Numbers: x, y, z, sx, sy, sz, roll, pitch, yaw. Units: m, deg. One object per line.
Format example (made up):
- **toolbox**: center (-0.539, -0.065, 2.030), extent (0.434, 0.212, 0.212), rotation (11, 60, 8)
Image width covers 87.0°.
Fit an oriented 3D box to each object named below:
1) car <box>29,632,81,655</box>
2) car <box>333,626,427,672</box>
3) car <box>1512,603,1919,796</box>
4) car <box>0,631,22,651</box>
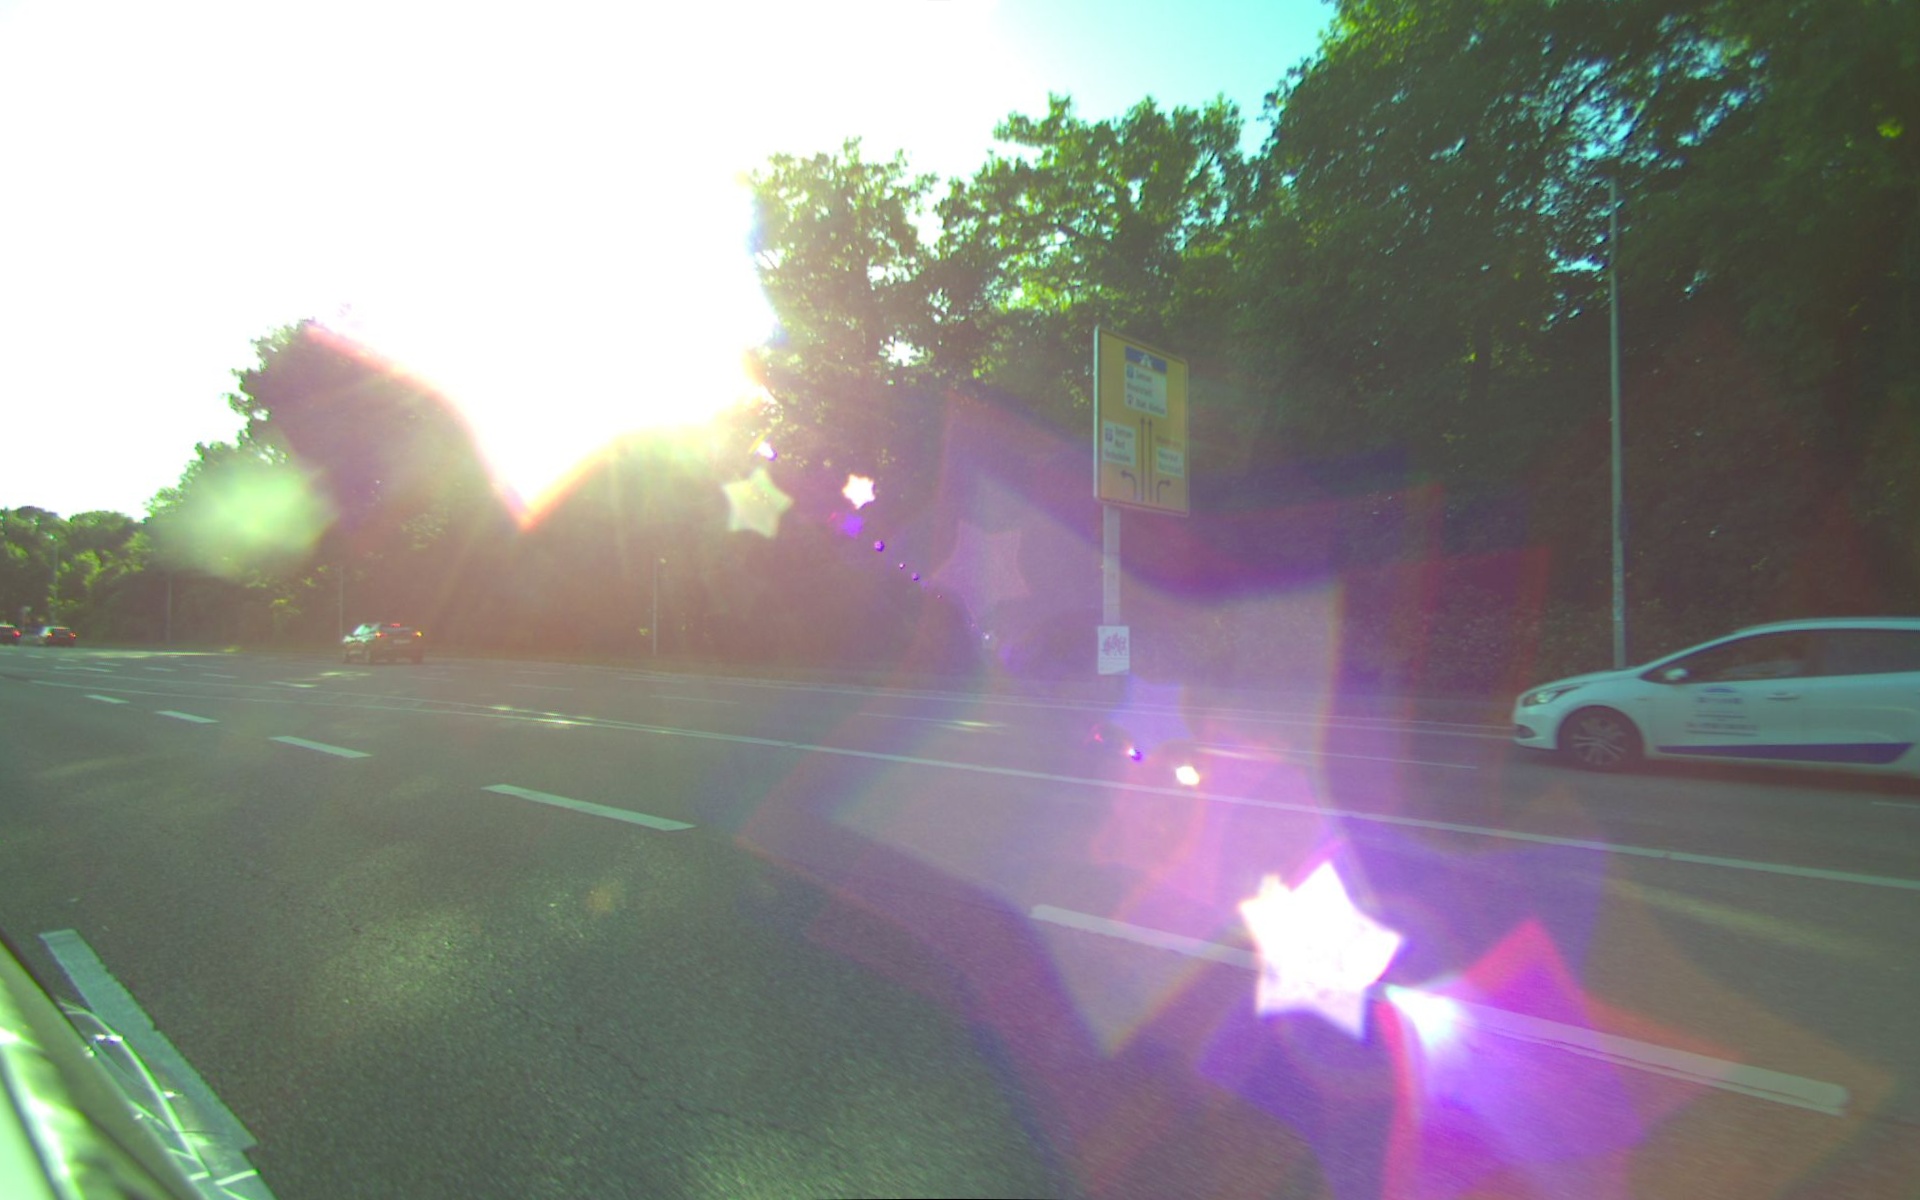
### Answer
- **car**: center (-65.033, 3.131, 72.709), extent (4.330, 1.576, 1.975), rotation (-1, -3, 37)
- **car**: center (-21.063, 1.745, 36.692), extent (4.257, 1.556, 1.804), rotation (-2, -3, 44)
- **car**: center (7.604, 0.813, 9.129), extent (4.305, 1.516, 1.805), rotation (-2, -2, 42)
- **car**: center (-78.259, 3.315, 82.243), extent (4.832, 1.649, 1.976), rotation (-1, -3, 35)
